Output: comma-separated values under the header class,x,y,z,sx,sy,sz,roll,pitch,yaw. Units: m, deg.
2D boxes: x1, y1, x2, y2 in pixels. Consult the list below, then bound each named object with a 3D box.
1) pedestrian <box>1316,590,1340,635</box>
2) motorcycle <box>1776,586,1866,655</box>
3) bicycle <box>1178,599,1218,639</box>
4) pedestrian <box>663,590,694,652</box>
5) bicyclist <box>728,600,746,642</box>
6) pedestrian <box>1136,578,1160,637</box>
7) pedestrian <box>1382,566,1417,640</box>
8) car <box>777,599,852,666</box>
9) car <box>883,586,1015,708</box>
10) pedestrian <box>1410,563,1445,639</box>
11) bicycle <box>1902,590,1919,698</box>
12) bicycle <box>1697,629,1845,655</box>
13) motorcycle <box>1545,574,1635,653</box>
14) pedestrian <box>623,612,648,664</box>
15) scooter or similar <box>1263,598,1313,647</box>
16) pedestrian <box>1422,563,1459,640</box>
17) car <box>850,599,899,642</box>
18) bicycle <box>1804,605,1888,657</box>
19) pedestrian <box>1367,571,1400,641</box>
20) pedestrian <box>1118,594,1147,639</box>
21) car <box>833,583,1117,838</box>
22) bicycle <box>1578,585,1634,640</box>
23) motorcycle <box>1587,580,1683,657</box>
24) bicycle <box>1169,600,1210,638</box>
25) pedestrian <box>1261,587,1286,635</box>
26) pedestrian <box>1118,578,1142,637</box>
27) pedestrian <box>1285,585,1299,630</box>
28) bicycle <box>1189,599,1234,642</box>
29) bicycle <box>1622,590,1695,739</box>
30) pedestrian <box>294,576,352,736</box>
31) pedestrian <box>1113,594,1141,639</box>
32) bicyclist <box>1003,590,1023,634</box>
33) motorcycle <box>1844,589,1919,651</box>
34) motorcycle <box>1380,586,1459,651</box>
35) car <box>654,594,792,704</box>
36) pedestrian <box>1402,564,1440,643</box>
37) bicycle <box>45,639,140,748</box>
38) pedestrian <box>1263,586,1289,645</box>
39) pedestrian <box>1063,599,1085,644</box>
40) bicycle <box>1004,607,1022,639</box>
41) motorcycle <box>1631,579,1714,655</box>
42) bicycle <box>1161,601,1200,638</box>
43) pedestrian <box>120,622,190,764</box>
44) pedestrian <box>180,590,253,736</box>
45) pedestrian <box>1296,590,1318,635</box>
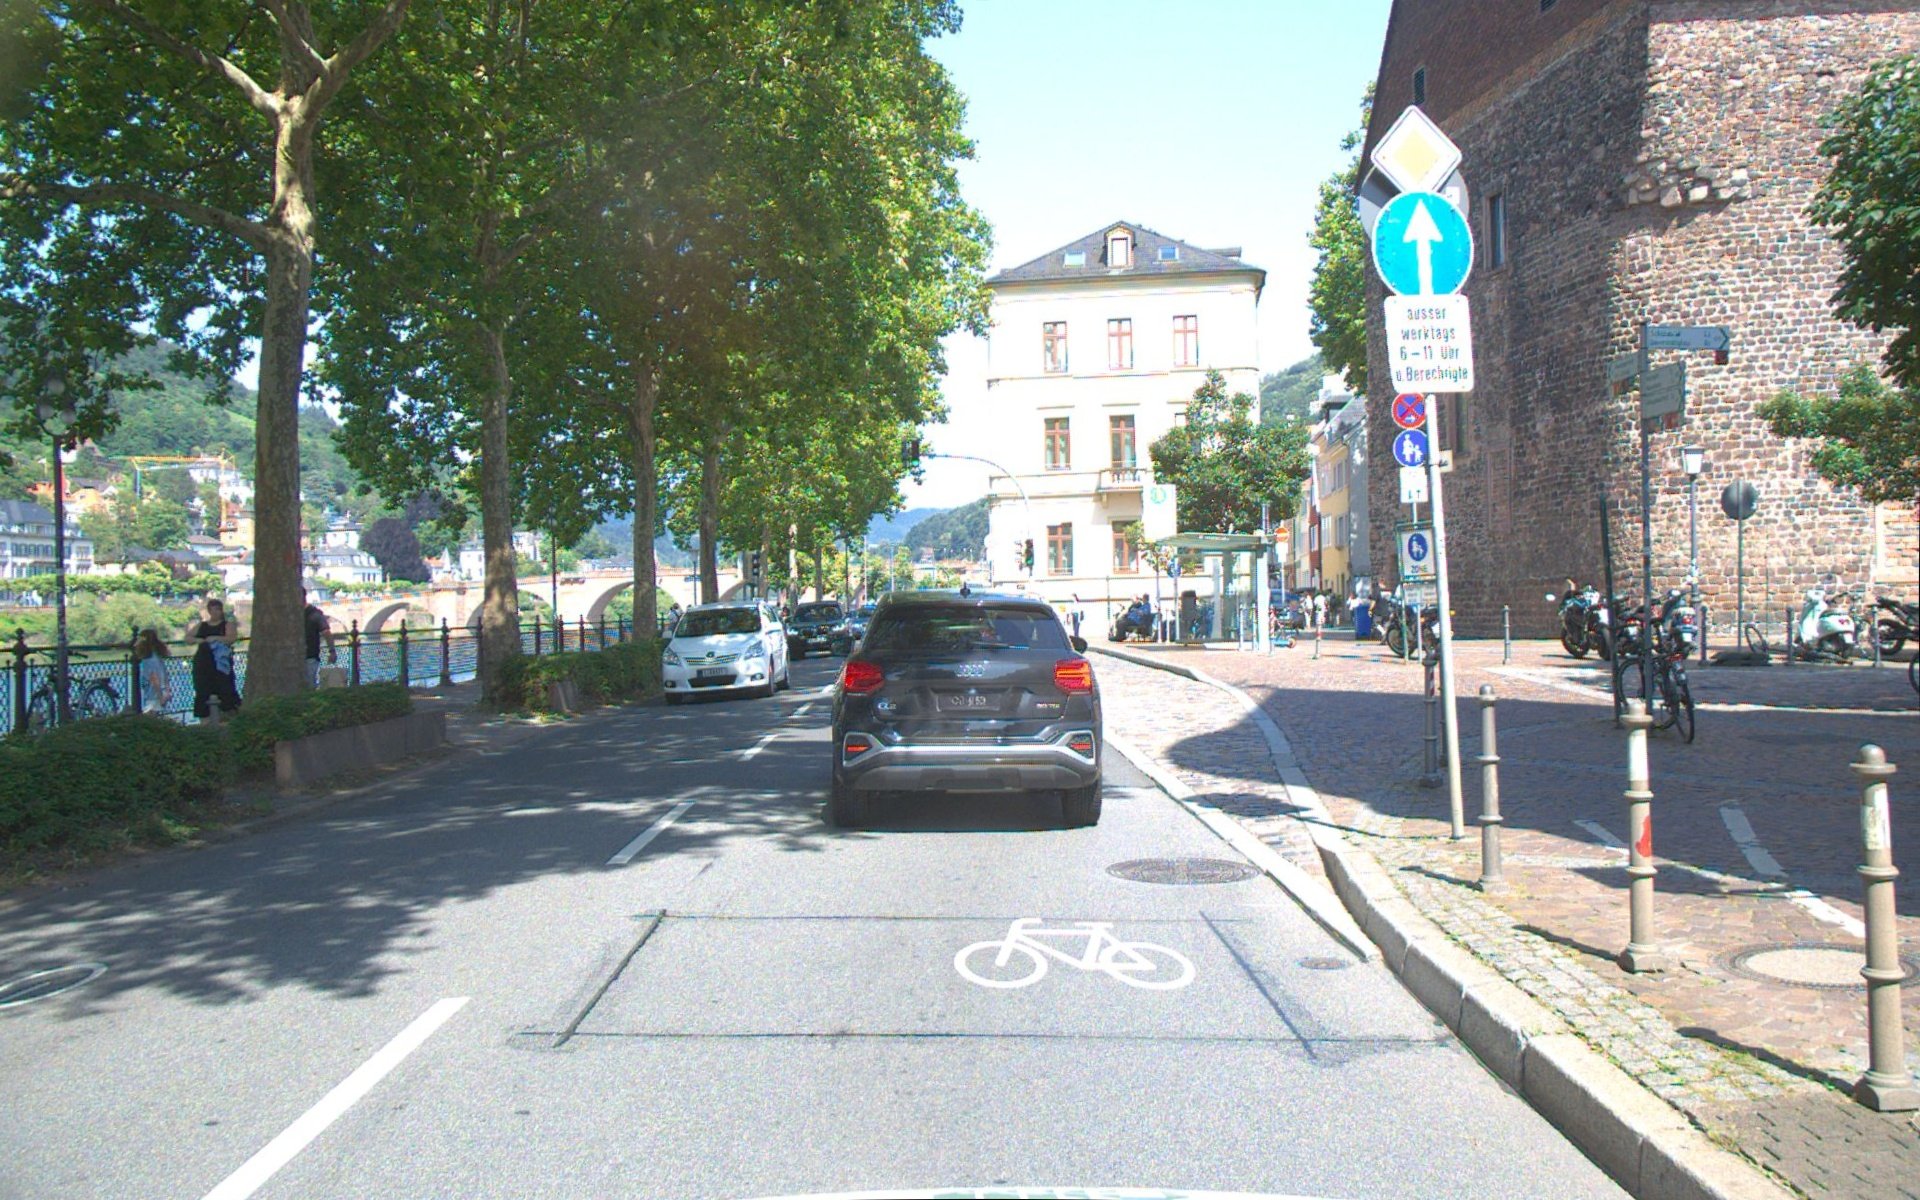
class,x,y,z,sx,sy,sz,roll,pitch,yaw
pedestrian,16.860,0.580,75.787,0.921,2.049,0.807,1,-1,-1
motorcycle,14.136,0.336,27.194,0.496,1.092,1.839,1,-1,-1
bicycle,6.597,0.540,45.869,1.140,1.089,0.178,1,-1,-20
pedestrian,-9.447,0.706,55.498,0.891,2.049,0.586,1,-1,3
bicyclist,-7.205,0.675,53.469,0.555,1.334,0.551,1,-1,-5
pedestrian,6.534,0.259,57.413,0.626,2.049,0.664,0,-1,29
pedestrian,11.456,0.086,43.132,0.655,1.917,0.821,1,-1,-2
car,-4.362,0.934,50.245,1.777,1.754,4.421,-6,0,-1
car,-0.170,0.633,23.895,1.756,1.623,3.398,1,0,-1
pedestrian,12.276,0.028,43.436,0.655,1.954,0.821,1,-1,-2
bicycle,10.673,0.483,17.537,0.437,1.182,1.731,-1,0,2
bicycle,12.427,0.641,25.404,1.887,0.388,0.918,-1,-1,14
motorcycle,10.633,0.237,27.988,0.642,1.288,2.199,0,-1,-1
pedestrian,-10.294,1.206,52.480,0.611,1.647,0.586,1,-1,3
scooter or similar,7.389,0.514,37.283,1.067,1.084,0.323,1,-1,-3
pedestrian,12.876,0.044,44.305,0.715,2.049,0.878,1,-1,-1
car,-3.819,0.934,74.587,1.952,1.838,4.000,1,-1,1
bicycle,15.151,0.516,28.315,0.346,0.835,1.925,1,0,-2
pedestrian,11.362,0.160,44.410,0.639,1.834,0.847,0,0,-2
pedestrian,4.789,0.469,45.913,0.651,1.233,0.640,1,-1,-7
car,0.065,0.664,11.801,1.707,1.535,3.646,0,0,-1
bicycle,14.839,0.302,38.030,0.381,1.230,1.715,1,-1,-9
motorcycle,11.445,0.320,28.125,0.661,1.257,2.312,1,-1,-1
bicycle,6.476,0.525,46.646,1.184,1.053,0.178,1,-1,-20
pedestrian,13.636,0.493,72.057,0.925,2.049,0.807,1,-1,-1
pedestrian,5.965,0.276,57.976,0.626,2.049,0.664,0,-1,29
pedestrian,12.582,0.295,62.631,0.440,1.710,0.466,1,-1,2
bicycle,6.882,0.561,45.202,1.284,1.147,0.178,1,-1,-20
bicycle,6.144,0.531,14.599,0.189,1.225,1.771,0,0,10
pedestrian,-7.691,0.668,19.986,0.523,1.920,0.436,0,0,-1
pedestrian,4.701,0.453,46.665,0.651,1.253,0.640,1,-1,-7
bicyclist,1.818,0.418,56.926,0.593,1.475,0.590,1,-1,-6
motorcycle,16.706,0.354,29.258,1.826,1.072,0.480,1,-1,7
motorcycle,7.747,0.298,27.978,0.555,1.030,2.489,-1,0,-2
car,-3.937,0.767,28.117,1.704,1.599,4.091,-4,0,-1
pedestrian,11.338,0.085,40.691,0.732,1.923,0.752,1,-1,1
bicycle,-9.503,1.004,18.149,0.352,1.110,1.295,2,0,-2
pedestrian,7.669,0.383,40.149,0.546,1.409,0.588,1,-1,1
pedestrian,3.870,0.733,56.055,0.679,1.527,0.513,1,-1,-5
bicycle,1.809,0.790,56.897,0.428,1.105,1.675,1,-1,-5
motorcycle,12.302,0.293,28.609,0.535,1.257,2.030,1,-1,-1
bicycle,6.306,0.554,47.300,1.166,1.033,0.178,1,-1,-20
pedestrian,-8.014,0.917,16.480,0.469,1.386,0.417,1,0,3
pedestrian,-8.918,0.743,19.847,0.589,1.715,0.583,-1,0,-2
pedestrian,15.896,0.574,75.754,0.822,2.049,0.738,1,-1,-1
